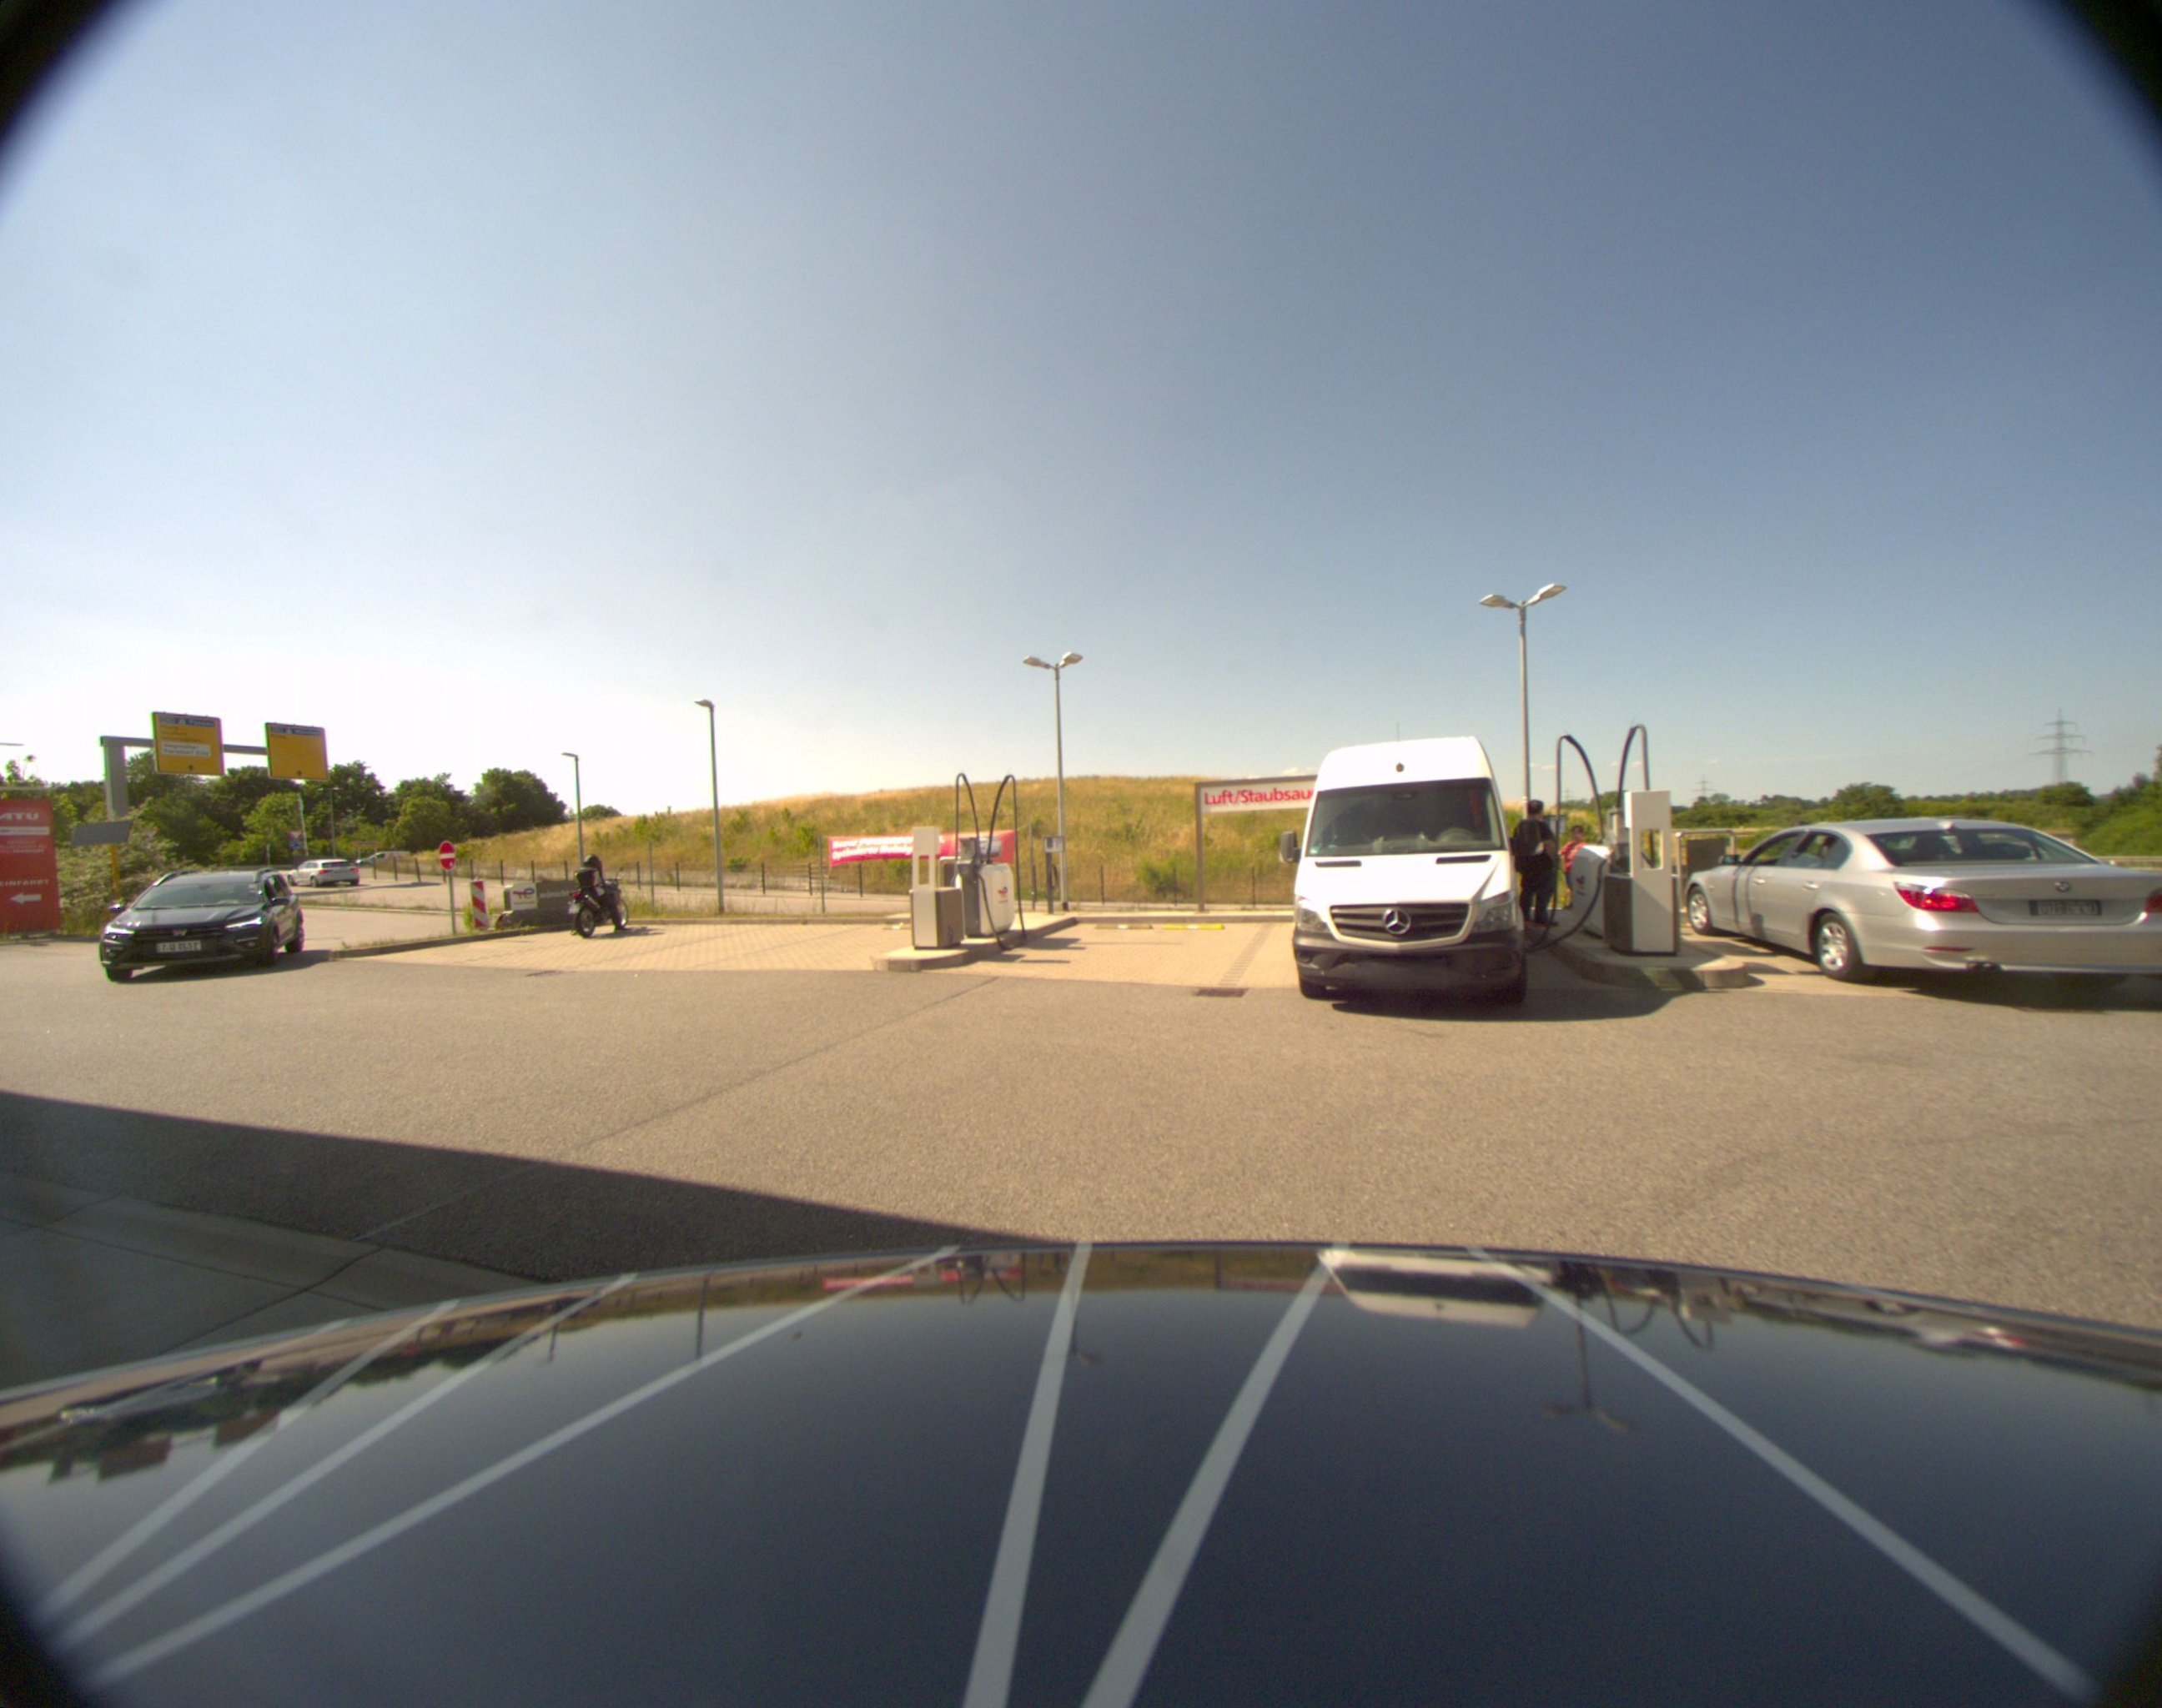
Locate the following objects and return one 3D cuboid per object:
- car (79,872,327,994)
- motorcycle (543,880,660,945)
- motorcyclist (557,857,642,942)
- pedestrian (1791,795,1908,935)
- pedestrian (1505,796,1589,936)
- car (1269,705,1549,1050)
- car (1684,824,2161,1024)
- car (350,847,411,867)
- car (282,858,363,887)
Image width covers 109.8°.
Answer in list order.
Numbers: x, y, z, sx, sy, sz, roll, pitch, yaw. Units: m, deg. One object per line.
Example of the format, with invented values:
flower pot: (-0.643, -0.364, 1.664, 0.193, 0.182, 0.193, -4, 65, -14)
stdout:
car: (-15.071, 1.200, 13.381, 1.747, 1.635, 4.620, -3, 1, -35)
motorcycle: (-10.051, 1.186, 16.078, 1.045, 1.100, 2.414, -2, 2, -5)
motorcyclist: (-10.050, 0.922, 15.915, 1.034, 1.678, 1.098, -2, 1, -5)
pedestrian: (9.996, 0.147, 9.917, 0.843, 1.739, 0.710, -2, 1, 20)
pedestrian: (6.197, 0.142, 10.099, 0.846, 1.760, 0.707, -3, 2, -41)
car: (4.064, -0.013, 9.197, 1.995, 2.557, 7.039, -1, 3, 26)
car: (8.076, 0.453, 7.711, 1.789, 1.420, 4.326, -2, 2, 20)
car: (-77.804, 0.295, 84.446, 1.994, 2.002, 4.537, -1, 1, 36)
car: (-40.823, 0.967, 40.881, 4.085, 1.416, 1.710, 0, 2, 24)
